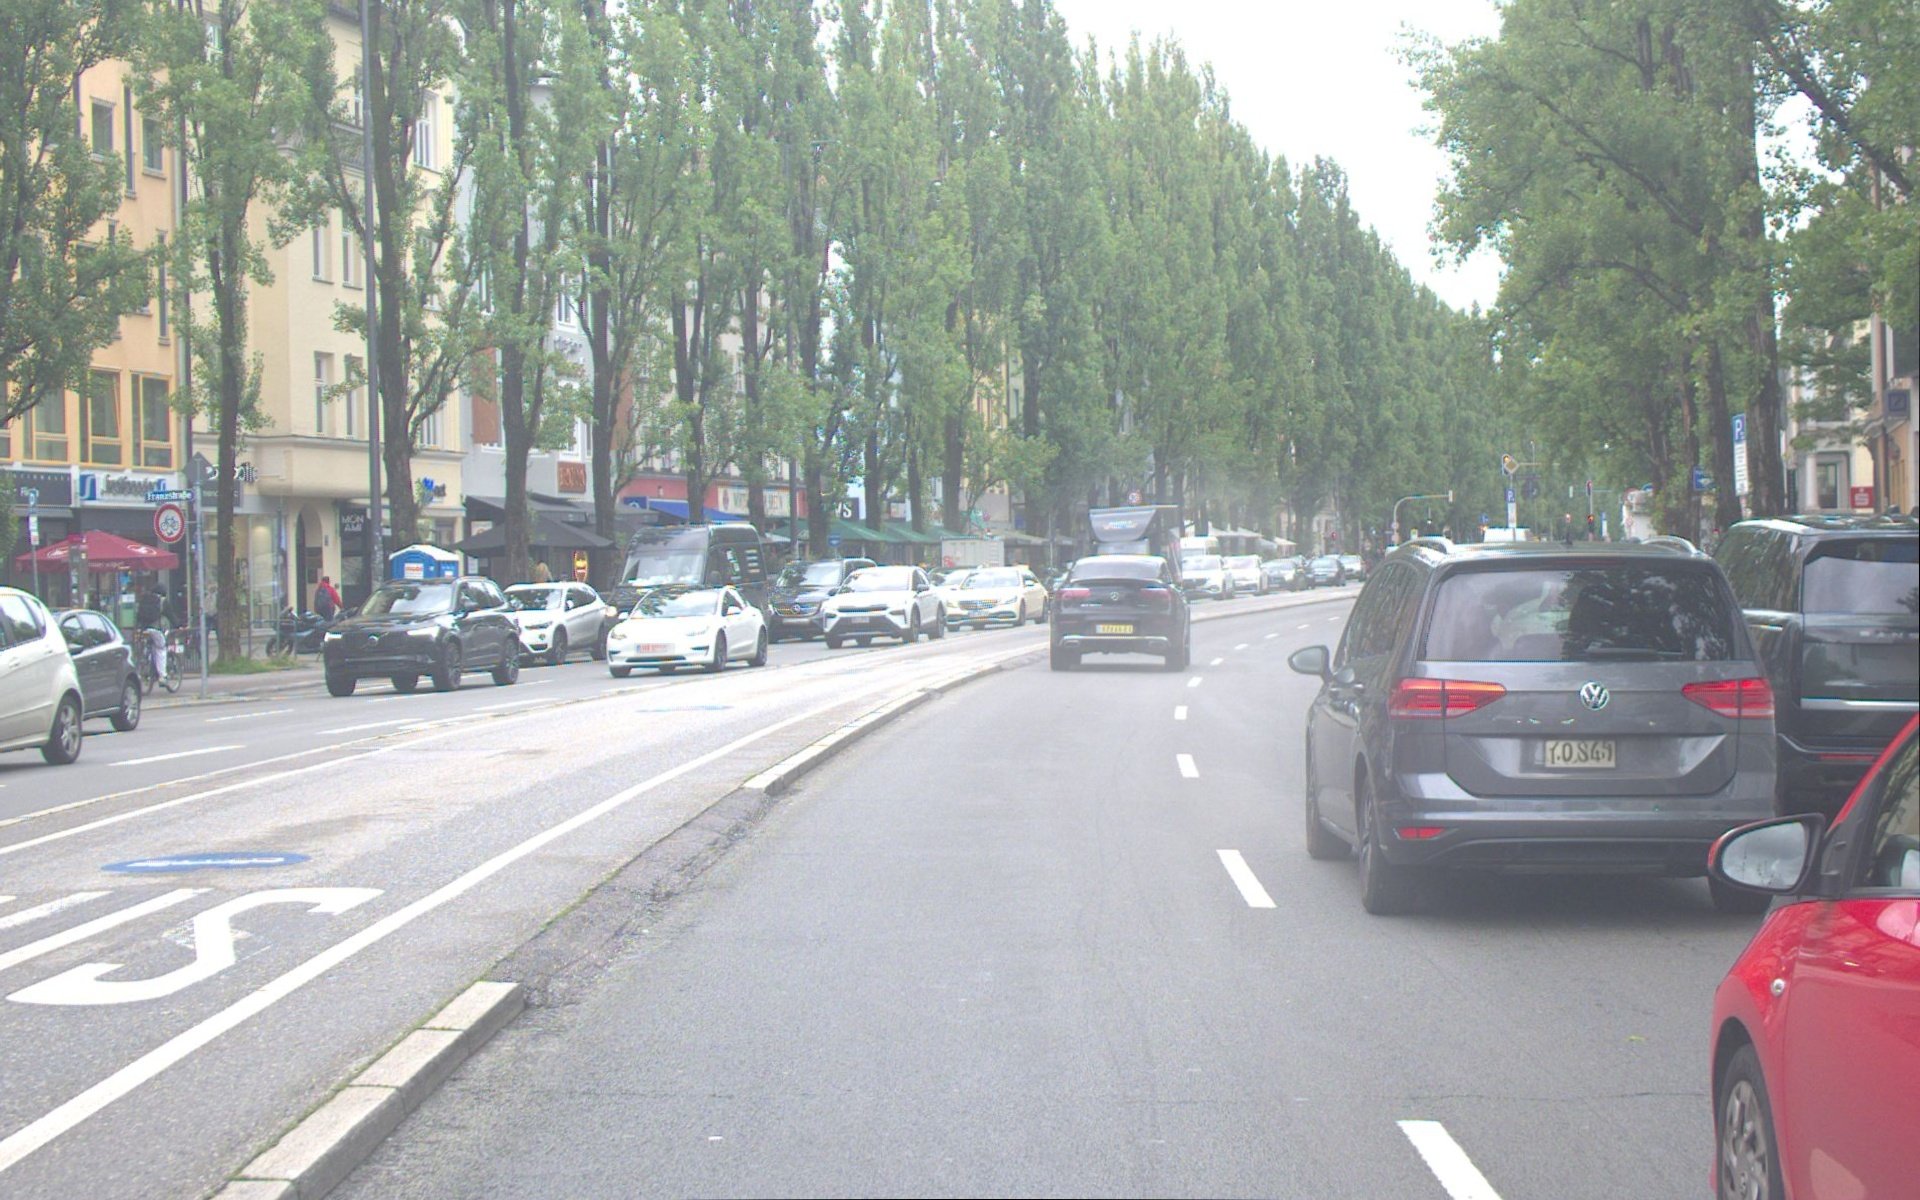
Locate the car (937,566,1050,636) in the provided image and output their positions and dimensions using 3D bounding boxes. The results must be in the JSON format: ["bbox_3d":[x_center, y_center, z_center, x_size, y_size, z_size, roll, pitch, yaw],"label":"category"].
[{"bbox_3d":[0.875,0.001,85.567,1.994,1.583,5.193,-3,0,9],"label":"car"}]

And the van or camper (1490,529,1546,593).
[{"bbox_3d":[22.802,-1.576,140.373,2.035,2.467,3.998,-1,-1,12],"label":"van or camper"}]

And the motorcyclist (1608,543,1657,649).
[{"bbox_3d":[9.098,-0.054,46.492,0.564,1.401,0.766,-2,0,8],"label":"motorcyclist"}]

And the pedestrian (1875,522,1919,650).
[{"bbox_3d":[12.121,-0.182,44.050,0.610,1.613,0.794,-2,0,7],"label":"pedestrian"}]

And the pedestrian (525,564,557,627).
[{"bbox_3d":[-11.407,-0.126,93.704,0.638,1.694,0.647,-2,1,12],"label":"pedestrian"}]

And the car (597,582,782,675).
[{"bbox_3d":[-4.432,0.444,57.126,1.800,1.389,4.688,-2,1,12],"label":"car"}]

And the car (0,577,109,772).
[{"bbox_3d":[-8.811,0.638,28.909,1.953,1.584,3.999,-1,1,5],"label":"car"}]

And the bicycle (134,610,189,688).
[{"bbox_3d":[-12.772,0.775,55.028,0.368,1.197,1.153,-1,1,13],"label":"bicycle"}]

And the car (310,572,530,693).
[{"bbox_3d":[-8.294,0.466,53.262,2.019,1.710,4.981,-1,1,7],"label":"car"}]

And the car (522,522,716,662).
[{"bbox_3d":[-6.726,-0.196,68.544,2.171,2.596,6.061,-2,1,11],"label":"car"}]

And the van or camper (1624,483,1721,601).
[{"bbox_3d":[19.715,-1.592,94.979,2.461,3.101,4.713,-2,1,13],"label":"van or camper"}]

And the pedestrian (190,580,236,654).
[{"bbox_3d":[-15.982,0.368,73.544,0.634,1.556,0.815,-1,1,13],"label":"pedestrian"}]

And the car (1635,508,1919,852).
[{"bbox_3d":[5.302,0.397,20.393,1.929,1.799,4.779,0,1,4],"label":"car"}]

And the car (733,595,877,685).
[{"bbox_3d":[-3.571,0.895,80.327,1.994,1.857,5.709,-3,0,11],"label":"car"}]

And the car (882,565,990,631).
[{"bbox_3d":[-0.624,-0.082,93.834,1.994,1.645,4.634,-2,0,11],"label":"car"}]

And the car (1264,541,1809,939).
[{"bbox_3d":[2.535,0.545,16.097,1.761,1.608,4.184,0,1,-1],"label":"car"}]

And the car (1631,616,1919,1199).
[{"bbox_3d":[2.322,0.761,5.793,1.665,1.441,3.596,0,0,0],"label":"car"}]

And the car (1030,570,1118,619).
[{"bbox_3d":[3.666,-0.198,109.898,1.940,1.429,4.536,-2,1,13],"label":"car"}]

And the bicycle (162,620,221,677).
[{"bbox_3d":[-13.649,0.852,61.059,0.458,0.960,1.880,-1,1,5],"label":"bicycle"}]

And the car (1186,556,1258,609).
[{"bbox_3d":[9.124,-0.617,119.346,1.861,1.705,4.534,-2,1,12],"label":"car"}]

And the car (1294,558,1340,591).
[{"bbox_3d":[16.303,-1.162,156.982,1.712,1.409,3.721,-1,1,11],"label":"car"}]

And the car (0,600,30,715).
[{"bbox_3d":[-14.170,0.807,42.949,4.494,1.434,1.928,-2,1,-38],"label":"car"}]

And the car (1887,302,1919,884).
[{"bbox_3d":[5.477,-0.028,13.934,1.993,2.732,5.554,0,0,1],"label":"car"}]

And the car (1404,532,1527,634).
[{"bbox_3d":[8.013,-0.287,54.666,1.811,1.495,4.804,-2,1,8],"label":"car"}]

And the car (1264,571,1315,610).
[{"bbox_3d":[13.638,-0.388,142.036,1.668,1.590,3.998,0,0,12],"label":"car"}]

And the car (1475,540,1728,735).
[{"bbox_3d":[5.901,0.300,32.065,1.727,1.680,4.408,0,1,3],"label":"car"}]

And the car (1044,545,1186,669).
[{"bbox_3d":[2.237,0.061,48.898,1.881,1.636,4.582,-1,1,3],"label":"car"}]

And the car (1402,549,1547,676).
[{"bbox_3d":[7.252,0.164,48.703,1.925,1.694,4.648,0,0,8],"label":"car"}]

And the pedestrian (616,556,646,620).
[{"bbox_3d":[-9.645,-0.362,100.787,0.638,1.855,0.647,-2,1,12],"label":"pedestrian"}]

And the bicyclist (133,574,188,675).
[{"bbox_3d":[-12.785,0.394,54.994,0.502,1.587,0.834,-1,1,12],"label":"bicyclist"}]

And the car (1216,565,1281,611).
[{"bbox_3d":[10.987,-0.471,130.614,1.940,1.636,4.461,-2,1,11],"label":"car"}]

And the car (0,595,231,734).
[{"bbox_3d":[-10.074,0.726,40.598,1.784,1.461,4.000,-2,1,4],"label":"car"}]

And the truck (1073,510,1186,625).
[{"bbox_3d":[5.227,-1.021,105.028,2.292,3.311,7.154,-2,0,11],"label":"truck"}]

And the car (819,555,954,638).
[{"bbox_3d":[-1.493,-0.098,71.261,1.910,1.597,4.353,-2,1,10],"label":"car"}]

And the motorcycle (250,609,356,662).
[{"bbox_3d":[-13.110,0.705,68.609,2.055,1.033,0.486,0,0,-8],"label":"motorcycle"}]

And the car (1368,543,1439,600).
[{"bbox_3d":[12.808,-0.798,99.188,1.760,1.614,3.745,0,0,12],"label":"car"}]

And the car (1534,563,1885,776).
[{"bbox_3d":[5.555,0.457,26.028,1.771,1.428,4.571,1,1,2],"label":"car"}]

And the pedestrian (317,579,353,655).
[{"bbox_3d":[-14.336,0.389,78.832,0.539,1.741,0.755,-1,1,12],"label":"pedestrian"}]
